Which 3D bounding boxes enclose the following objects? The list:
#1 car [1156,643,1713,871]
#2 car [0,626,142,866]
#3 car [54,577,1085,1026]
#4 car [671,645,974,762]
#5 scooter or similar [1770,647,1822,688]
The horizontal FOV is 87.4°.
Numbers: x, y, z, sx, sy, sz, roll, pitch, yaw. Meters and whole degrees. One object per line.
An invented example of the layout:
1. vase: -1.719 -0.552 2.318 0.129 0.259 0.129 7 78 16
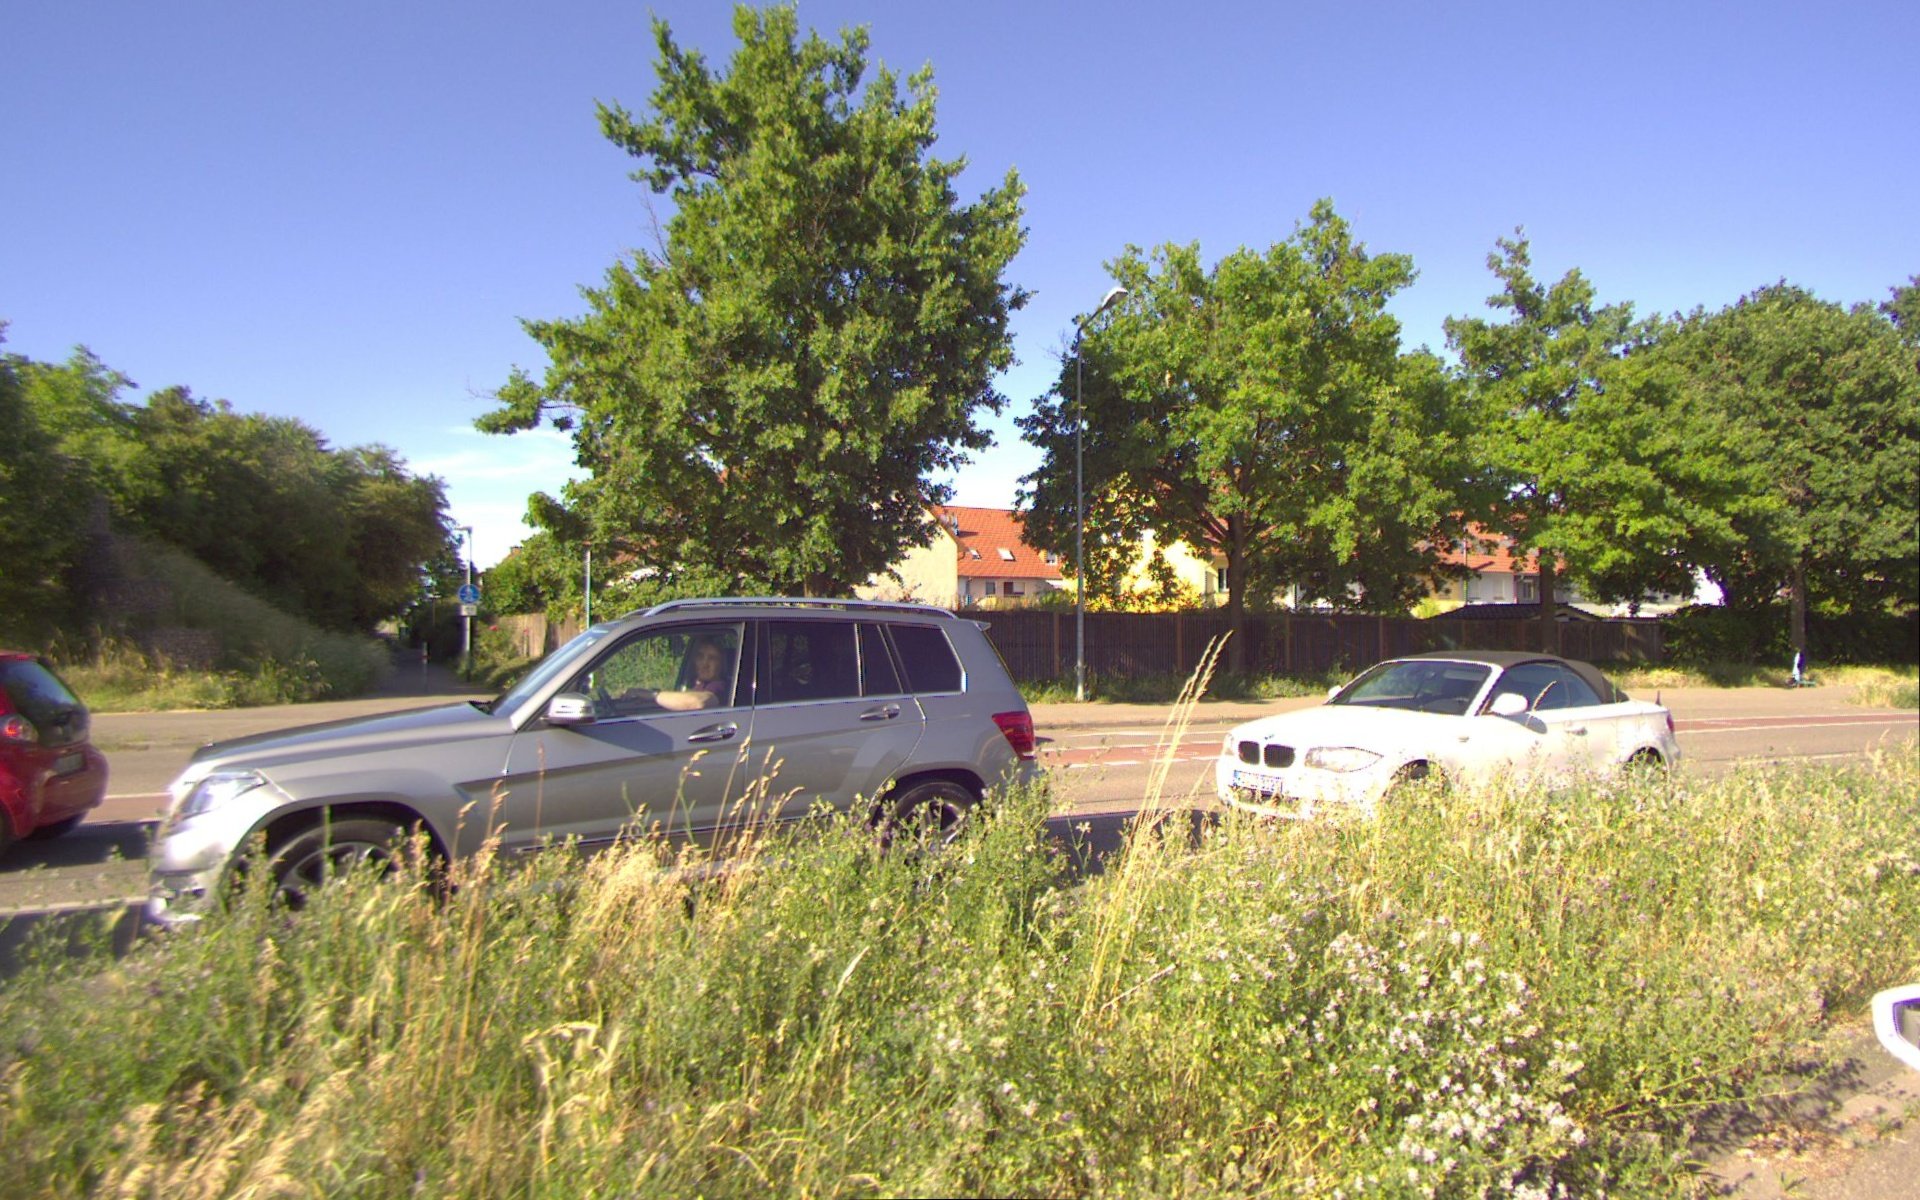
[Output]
1. car: 4.003 1.106 8.446 4.341 1.469 1.987 1 -2 -26
2. car: -7.788 0.915 6.392 3.663 1.502 1.641 1 -2 -25
3. car: -1.724 0.807 5.577 4.470 1.637 1.987 1 -2 -26
4. car: -1.928 1.365 13.870 3.936 1.449 1.709 1 -3 -17
5. scooter or similar: 26.543 2.135 31.911 1.389 1.235 0.539 0 1 -13
